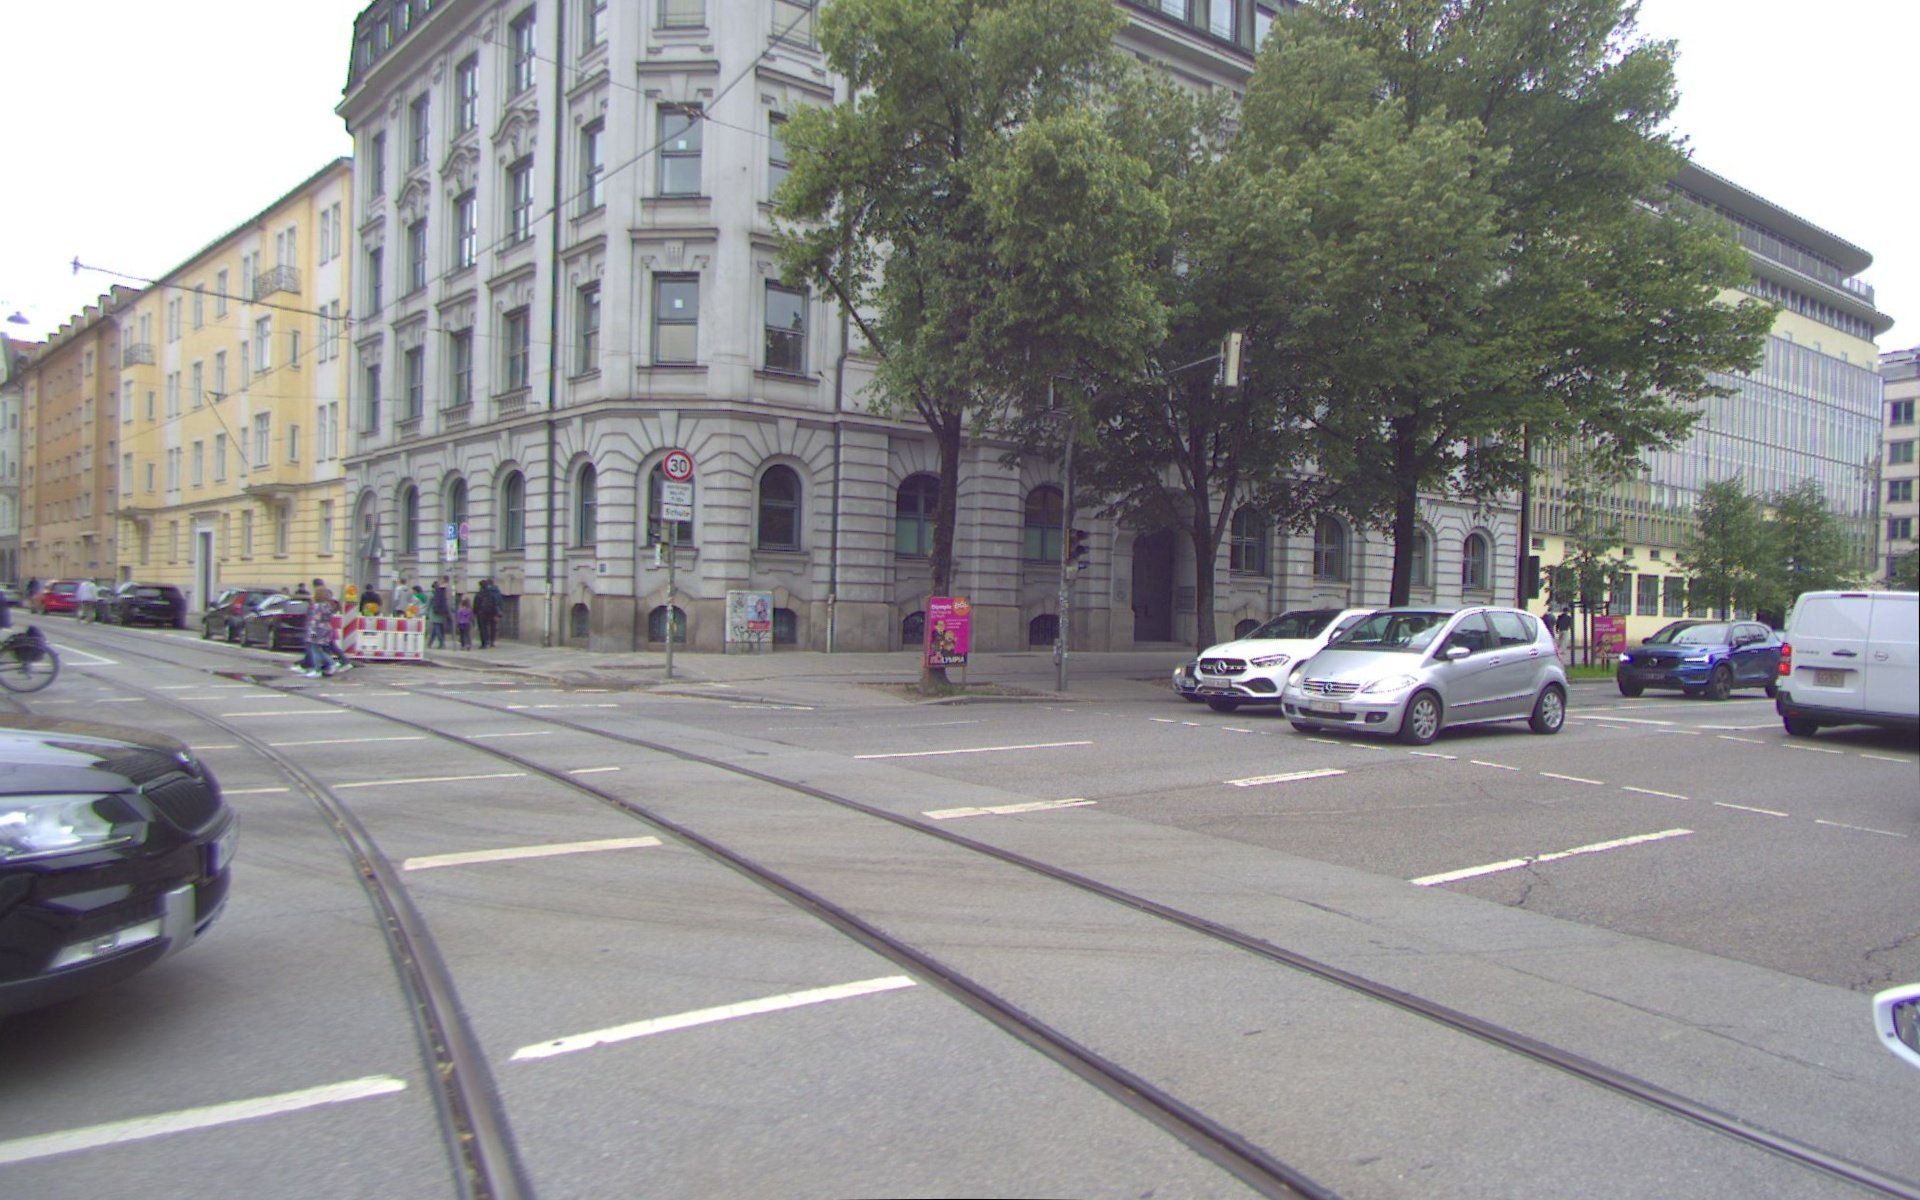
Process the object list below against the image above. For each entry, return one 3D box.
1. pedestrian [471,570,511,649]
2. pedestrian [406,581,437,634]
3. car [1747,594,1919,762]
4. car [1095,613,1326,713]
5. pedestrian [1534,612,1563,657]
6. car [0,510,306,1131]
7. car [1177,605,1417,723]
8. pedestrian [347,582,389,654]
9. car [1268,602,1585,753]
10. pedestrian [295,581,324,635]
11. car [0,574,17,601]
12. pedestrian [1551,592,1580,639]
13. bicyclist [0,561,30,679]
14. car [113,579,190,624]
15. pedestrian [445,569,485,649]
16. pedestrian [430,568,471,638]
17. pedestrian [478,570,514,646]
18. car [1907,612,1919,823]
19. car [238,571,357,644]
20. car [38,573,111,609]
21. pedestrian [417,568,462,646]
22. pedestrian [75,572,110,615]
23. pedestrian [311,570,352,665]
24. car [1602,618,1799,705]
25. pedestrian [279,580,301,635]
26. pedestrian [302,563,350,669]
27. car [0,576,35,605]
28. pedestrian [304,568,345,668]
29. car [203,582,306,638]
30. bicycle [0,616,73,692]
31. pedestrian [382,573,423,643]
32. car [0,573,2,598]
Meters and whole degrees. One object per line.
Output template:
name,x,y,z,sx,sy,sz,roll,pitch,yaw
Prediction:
pedestrian,-12.481,0.245,26.727,0.768,2.041,0.664,3,2,39
pedestrian,-16.569,0.230,30.928,0.568,1.617,0.645,3,2,39
car,12.559,0.957,13.170,4.899,1.872,1.889,2,0,-31
car,4.591,1.113,18.310,4.009,1.597,1.726,2,0,-30
pedestrian,23.764,1.398,40.569,0.826,1.801,0.612,2,1,-30
car,-4.278,0.530,2.636,4.157,1.658,1.714,2,0,-31
car,5.335,0.935,15.707,3.966,1.617,1.730,2,-2,-39
pedestrian,-17.212,0.509,29.193,0.768,2.041,0.799,3,2,39
car,5.816,0.881,12.434,3.900,1.592,1.626,2,0,-30
pedestrian,-22.751,0.285,35.137,0.670,1.879,0.625,2,0,40
car,-59.448,-0.773,61.529,3.664,1.617,1.992,1,0,39
pedestrian,24.095,0.612,39.975,0.826,1.801,0.612,2,1,-30
bicyclist,-13.505,0.261,13.818,0.881,1.599,0.657,2,1,-30
car,-30.281,0.054,37.576,3.521,1.597,1.685,1,0,42
pedestrian,-12.919,0.233,26.229,0.768,2.041,0.640,3,2,39
pedestrian,-15.178,0.079,29.943,0.768,2.041,0.799,3,2,39
pedestrian,-12.686,0.224,27.437,0.570,2.041,0.664,3,2,39
car,9.259,0.960,7.808,3.954,1.573,1.701,2,1,-31
car,-17.020,0.173,25.762,3.521,1.753,1.685,1,0,42
car,-41.724,-0.435,47.318,3.664,1.617,1.992,1,0,39
pedestrian,-14.006,0.175,27.047,0.768,2.041,0.799,3,2,39
pedestrian,-32.826,-0.243,38.003,0.865,1.597,0.859,1,0,41
pedestrian,-11.882,0.333,18.999,0.461,1.762,0.502,2,0,-11
car,15.730,1.271,21.294,4.299,1.677,1.831,2,-2,-30
pedestrian,-23.135,0.264,34.679,0.463,1.879,0.500,2,0,42
pedestrian,-11.418,0.286,18.102,0.518,1.879,0.502,2,0,-12
car,-55.430,-0.577,58.332,3.664,1.617,1.992,1,0,39
pedestrian,-12.296,0.347,19.442,0.461,1.879,0.502,2,0,-11
car,-20.680,0.280,29.401,3.521,1.539,1.685,1,0,42
bicycle,-13.666,0.730,13.757,2.155,1.001,0.658,2,1,-30
pedestrian,-16.658,0.226,30.003,0.768,2.041,0.799,3,2,39
car,-63.464,-0.975,64.776,3.664,1.617,1.992,1,0,39
